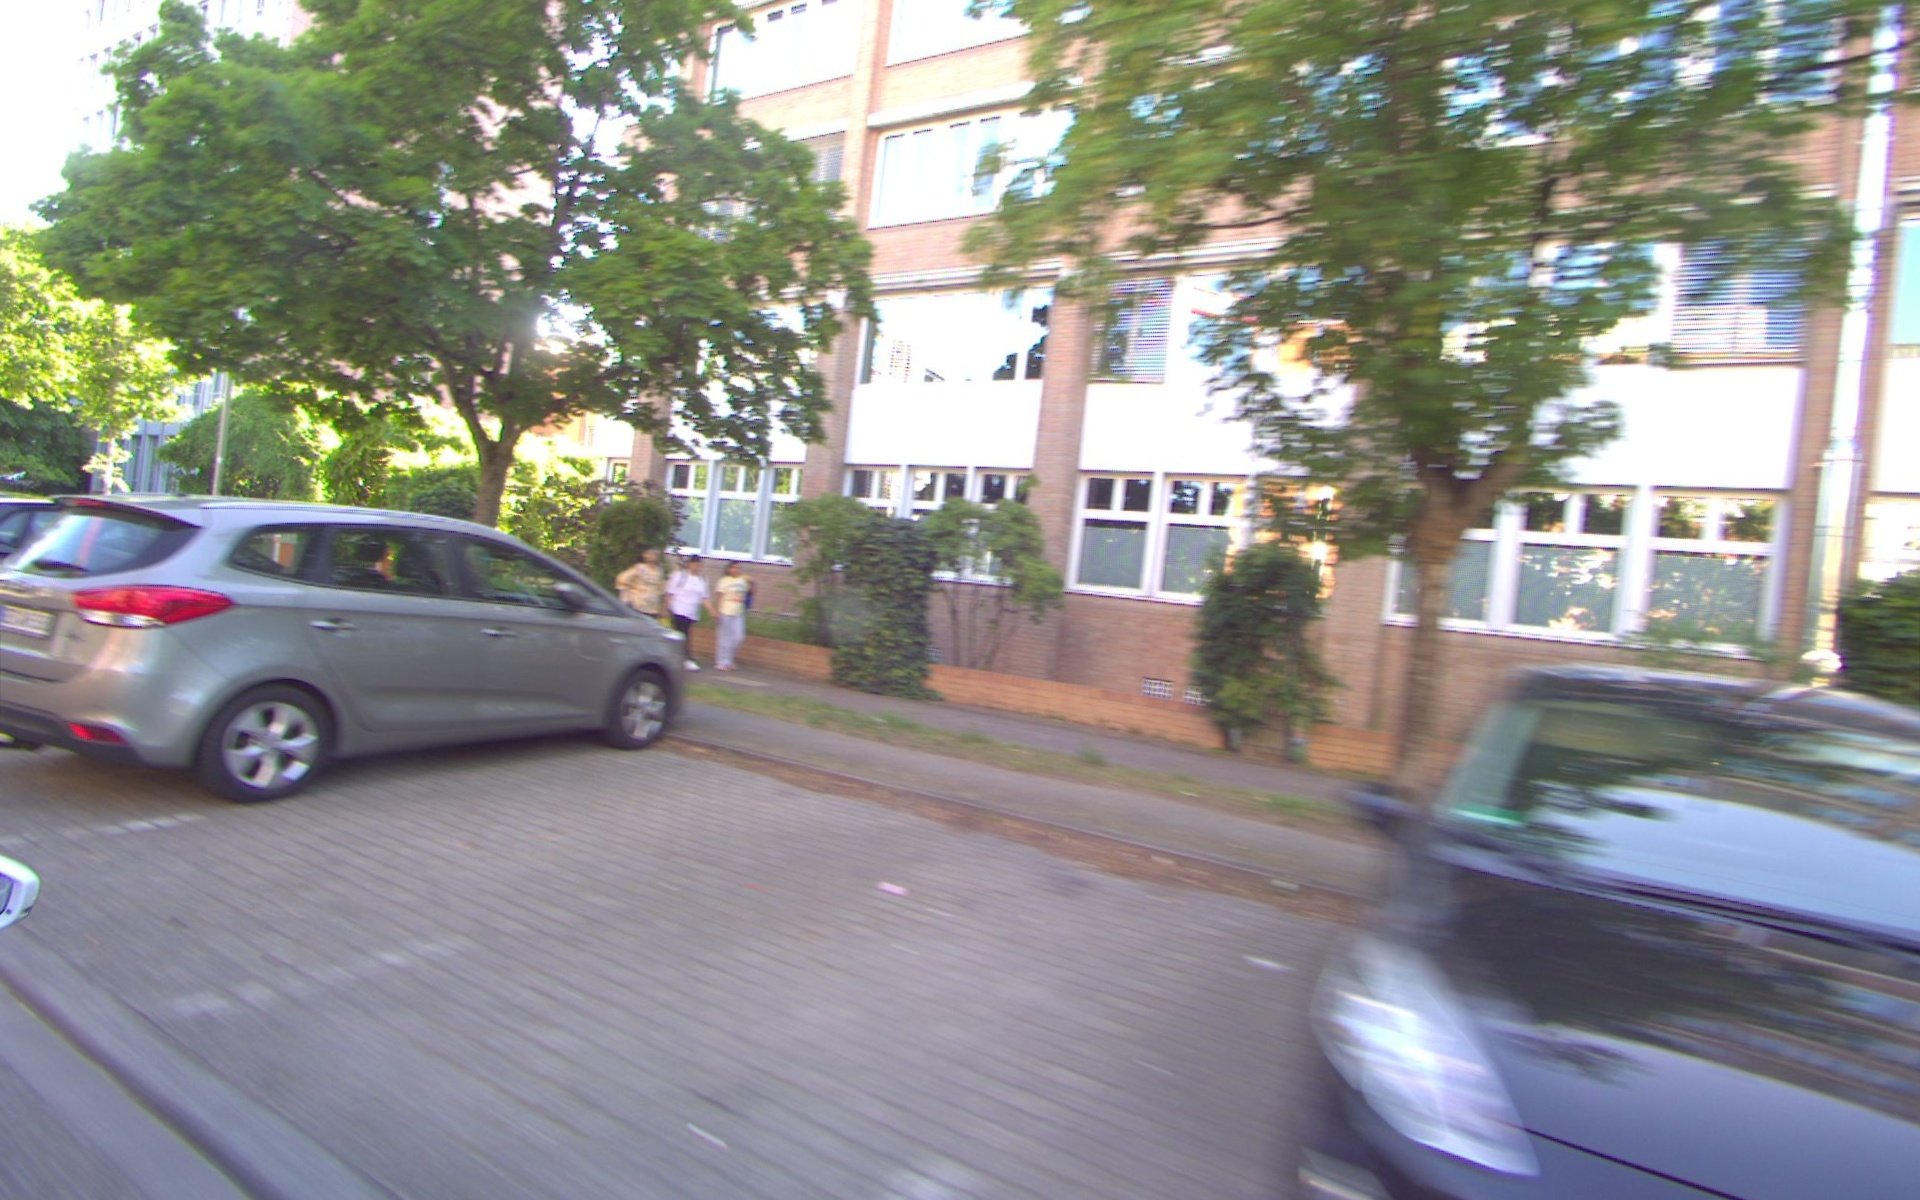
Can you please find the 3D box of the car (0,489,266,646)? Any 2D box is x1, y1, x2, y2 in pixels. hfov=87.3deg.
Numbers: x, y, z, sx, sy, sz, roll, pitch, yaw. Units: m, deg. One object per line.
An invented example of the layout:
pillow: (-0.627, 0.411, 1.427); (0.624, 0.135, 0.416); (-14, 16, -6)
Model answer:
car: (-9.892, -0.383, 10.559); (1.794, 1.503, 3.848); (7, 2, 30)

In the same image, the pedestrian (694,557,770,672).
pedestrian: (-3.292, 0.225, 14.549); (0.549, 1.572, 0.757); (7, 1, 29)

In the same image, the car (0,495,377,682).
car: (-7.715, -0.131, 9.176); (1.672, 1.427, 3.805); (7, 2, 26)

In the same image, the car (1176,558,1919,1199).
car: (2.104, 0.878, 2.992); (1.744, 1.456, 3.942); (7, -1, 29)

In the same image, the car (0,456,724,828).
car: (-3.803, 0.179, 6.804); (1.905, 1.618, 4.359); (6, 1, 25)

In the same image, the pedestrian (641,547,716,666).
pedestrian: (-3.841, 0.099, 13.756); (0.584, 1.540, 0.603); (7, 1, 29)

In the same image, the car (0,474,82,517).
car: (-54.536, -6.169, 58.934); (1.965, 1.803, 4.084); (6, -3, 27)

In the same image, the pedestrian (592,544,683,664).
pedestrian: (-4.214, 0.063, 13.165); (0.703, 1.476, 0.701); (7, 1, 29)
